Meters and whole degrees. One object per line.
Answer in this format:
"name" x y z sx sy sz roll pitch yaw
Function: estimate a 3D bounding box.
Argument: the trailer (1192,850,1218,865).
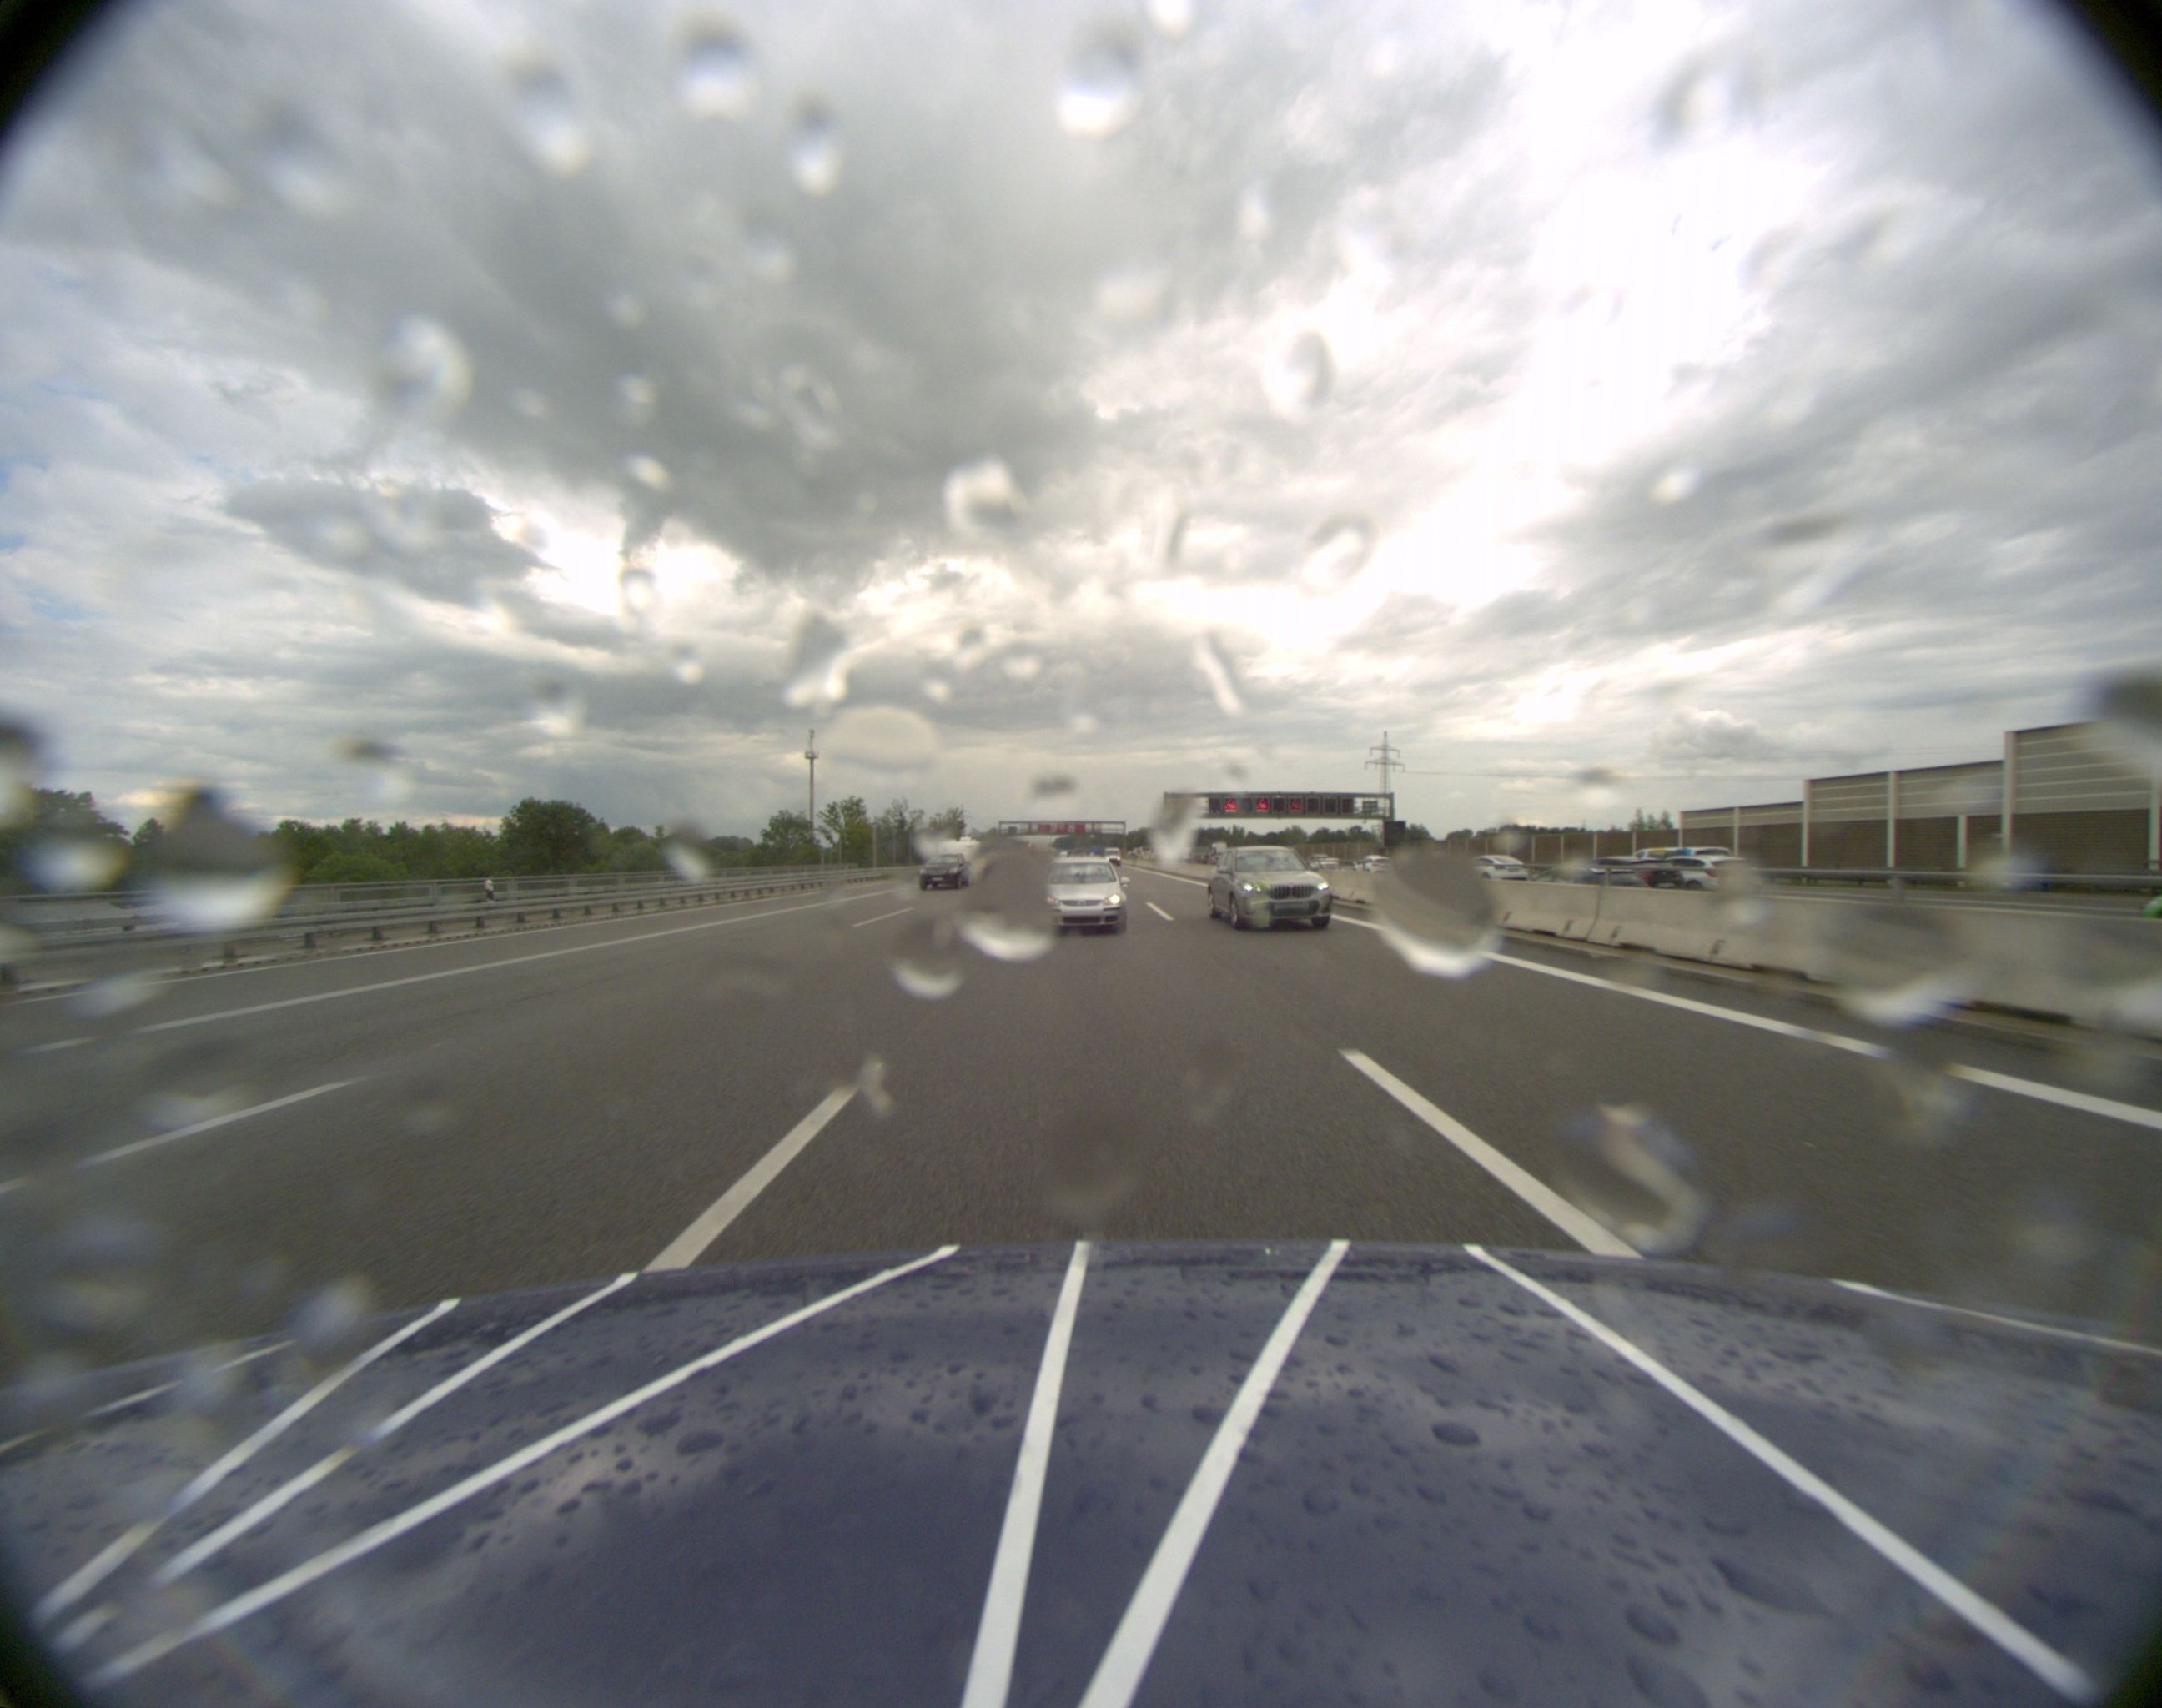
"trailer" 14.752 0.414 90.898 2.149 1.699 6.046 -1 0 1

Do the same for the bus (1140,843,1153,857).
"bus" 18.013 -1.176 208.386 2.660 3.658 10.633 -1 0 1

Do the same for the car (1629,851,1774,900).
"car" 21.668 0.698 26.766 1.752 1.601 4.178 -1 0 1

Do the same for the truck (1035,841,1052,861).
"truck" -7.047 -0.573 143.581 2.870 3.633 9.593 -2 0 -1

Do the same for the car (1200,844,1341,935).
"car" 3.837 0.651 16.306 1.840 1.615 4.915 -1 0 1

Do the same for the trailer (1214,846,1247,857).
"trailer" 26.026 -0.472 132.922 2.759 1.818 16.349 -1 0 1

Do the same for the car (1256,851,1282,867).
"car" 19.191 0.503 77.552 1.751 1.621 4.166 -1 0 2

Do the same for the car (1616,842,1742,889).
"car" 26.019 0.473 33.309 1.752 1.882 4.782 -1 0 0

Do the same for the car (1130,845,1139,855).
"car" 14.204 -1.051 203.109 2.141 2.338 5.711 -2 0 1

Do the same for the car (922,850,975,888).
"car" -6.644 0.737 38.535 1.925 1.765 4.502 -2 0 -1

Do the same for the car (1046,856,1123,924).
"car" 0.035 0.806 18.886 1.683 1.437 3.999 -1 0 -1

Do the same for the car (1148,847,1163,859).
"car" 14.100 -0.123 143.739 2.236 2.224 5.512 -1 0 0

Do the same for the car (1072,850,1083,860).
"car" -0.761 0.123 158.213 1.999 2.002 3.999 -2 0 -1

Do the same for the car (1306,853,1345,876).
"car" 18.294 0.782 57.059 1.751 1.621 4.166 -1 0 2

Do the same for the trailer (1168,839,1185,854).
"trailer" 26.139 -2.075 208.933 3.037 3.910 12.973 -1 0 1

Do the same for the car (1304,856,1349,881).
"car" 14.590 0.849 45.384 1.575 1.386 3.575 -1 0 1

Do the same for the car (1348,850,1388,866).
"car" 26.319 0.339 69.853 1.869 1.392 4.573 -1 0 -1

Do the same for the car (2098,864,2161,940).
"car" 21.666 0.924 13.156 1.752 1.422 4.715 -1 0 -1

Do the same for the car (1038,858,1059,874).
"car" -3.067 1.098 71.851 1.841 1.437 3.999 -1 0 -1

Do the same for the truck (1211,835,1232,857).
"truck" 26.088 -1.472 141.015 2.759 3.864 6.050 -1 0 0

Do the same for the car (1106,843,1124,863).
"car" 4.357 -0.120 98.153 1.999 2.524 4.807 -2 0 -1

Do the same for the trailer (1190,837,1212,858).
"trailer" 18.589 -0.941 118.039 2.455 3.120 6.050 -1 0 0

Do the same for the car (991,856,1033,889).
"car" -3.272 0.854 36.632 1.718 1.437 3.999 -1 0 -1

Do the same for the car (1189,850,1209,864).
"car" 14.874 0.411 96.332 1.821 1.699 4.806 -1 0 1

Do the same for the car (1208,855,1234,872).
"car" 14.543 0.956 79.002 1.885 1.734 5.110 -1 0 2

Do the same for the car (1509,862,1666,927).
"car" 14.230 1.067 21.684 1.752 1.598 4.178 -1 0 1

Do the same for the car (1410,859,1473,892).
"car" 18.554 1.081 39.272 1.625 1.571 3.619 -1 0 1

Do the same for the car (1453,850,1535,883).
"car" 21.873 0.613 40.459 1.752 1.621 4.644 -1 0 -1

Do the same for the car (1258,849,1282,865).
"car" 22.284 0.301 89.794 1.752 1.837 4.165 -1 0 -1

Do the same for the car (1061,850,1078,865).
"car" -1.536 0.439 96.716 1.999 1.701 3.999 -2 0 -2

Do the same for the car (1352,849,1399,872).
"car" 21.797 0.455 56.463 1.752 1.621 4.391 -1 0 -1

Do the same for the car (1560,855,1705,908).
"car" 18.555 0.866 25.821 1.939 1.601 4.178 -1 0 1

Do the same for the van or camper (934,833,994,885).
"van or camper" -6.694 0.259 44.391 2.390 2.722 7.208 -2 0 -1

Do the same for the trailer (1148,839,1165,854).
"trailer" 21.249 -2.002 214.511 2.893 3.938 14.297 -2 0 -1

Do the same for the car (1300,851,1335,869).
"car" 22.113 0.563 71.135 1.826 1.621 4.525 -1 0 0

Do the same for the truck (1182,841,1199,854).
"truck" 25.098 -1.437 174.426 2.698 2.797 7.834 -1 0 1

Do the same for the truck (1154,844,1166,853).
"truck" 18.520 -1.279 178.697 2.249 1.988 5.544 -1 0 -1

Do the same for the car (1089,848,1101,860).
"car" 2.619 0.034 140.751 1.999 2.002 3.999 -2 0 -1
